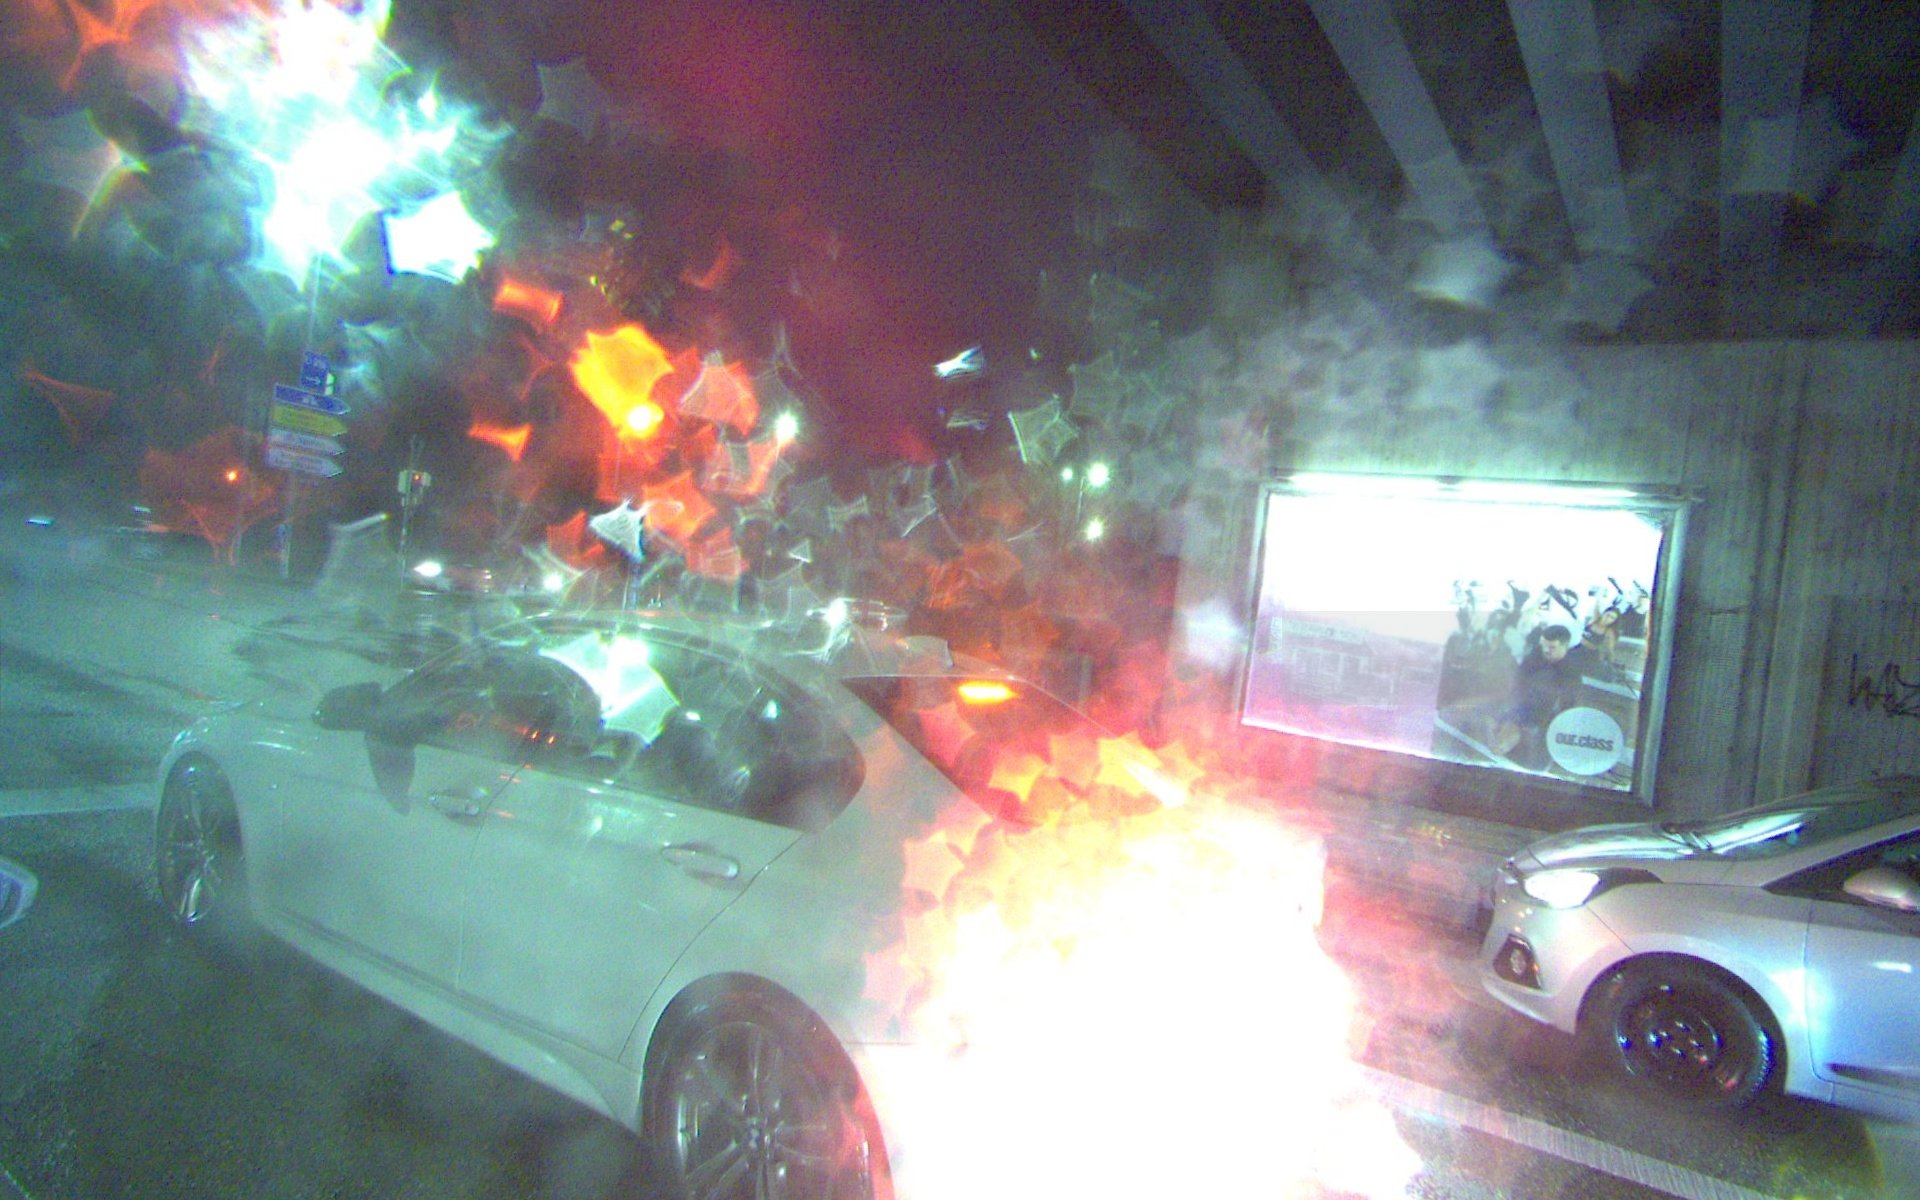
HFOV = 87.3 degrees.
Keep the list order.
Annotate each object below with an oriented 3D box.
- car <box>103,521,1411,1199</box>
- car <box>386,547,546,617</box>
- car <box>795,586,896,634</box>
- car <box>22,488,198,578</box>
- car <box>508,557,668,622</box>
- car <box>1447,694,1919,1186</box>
[{"bbox_3d":[-0.943,0.679,3.490,4.309,1.465,1.722,6,0,31],"label":"car"},{"bbox_3d":[-16.693,-0.571,34.179,1.954,1.775,4.340,6,-2,36],"label":"car"},{"bbox_3d":[-5.134,0.483,45.637,1.827,1.609,4.335,6,-2,40],"label":"car"},{"bbox_3d":[-22.967,-1.779,27.301,3.405,1.859,1.668,8,-2,-41],"label":"car"},{"bbox_3d":[-12.774,-0.322,34.792,1.826,1.609,4.850,6,-2,38],"label":"car"},{"bbox_3d":[4.305,1.402,3.929,4.092,1.465,1.722,6,0,31],"label":"car"}]
